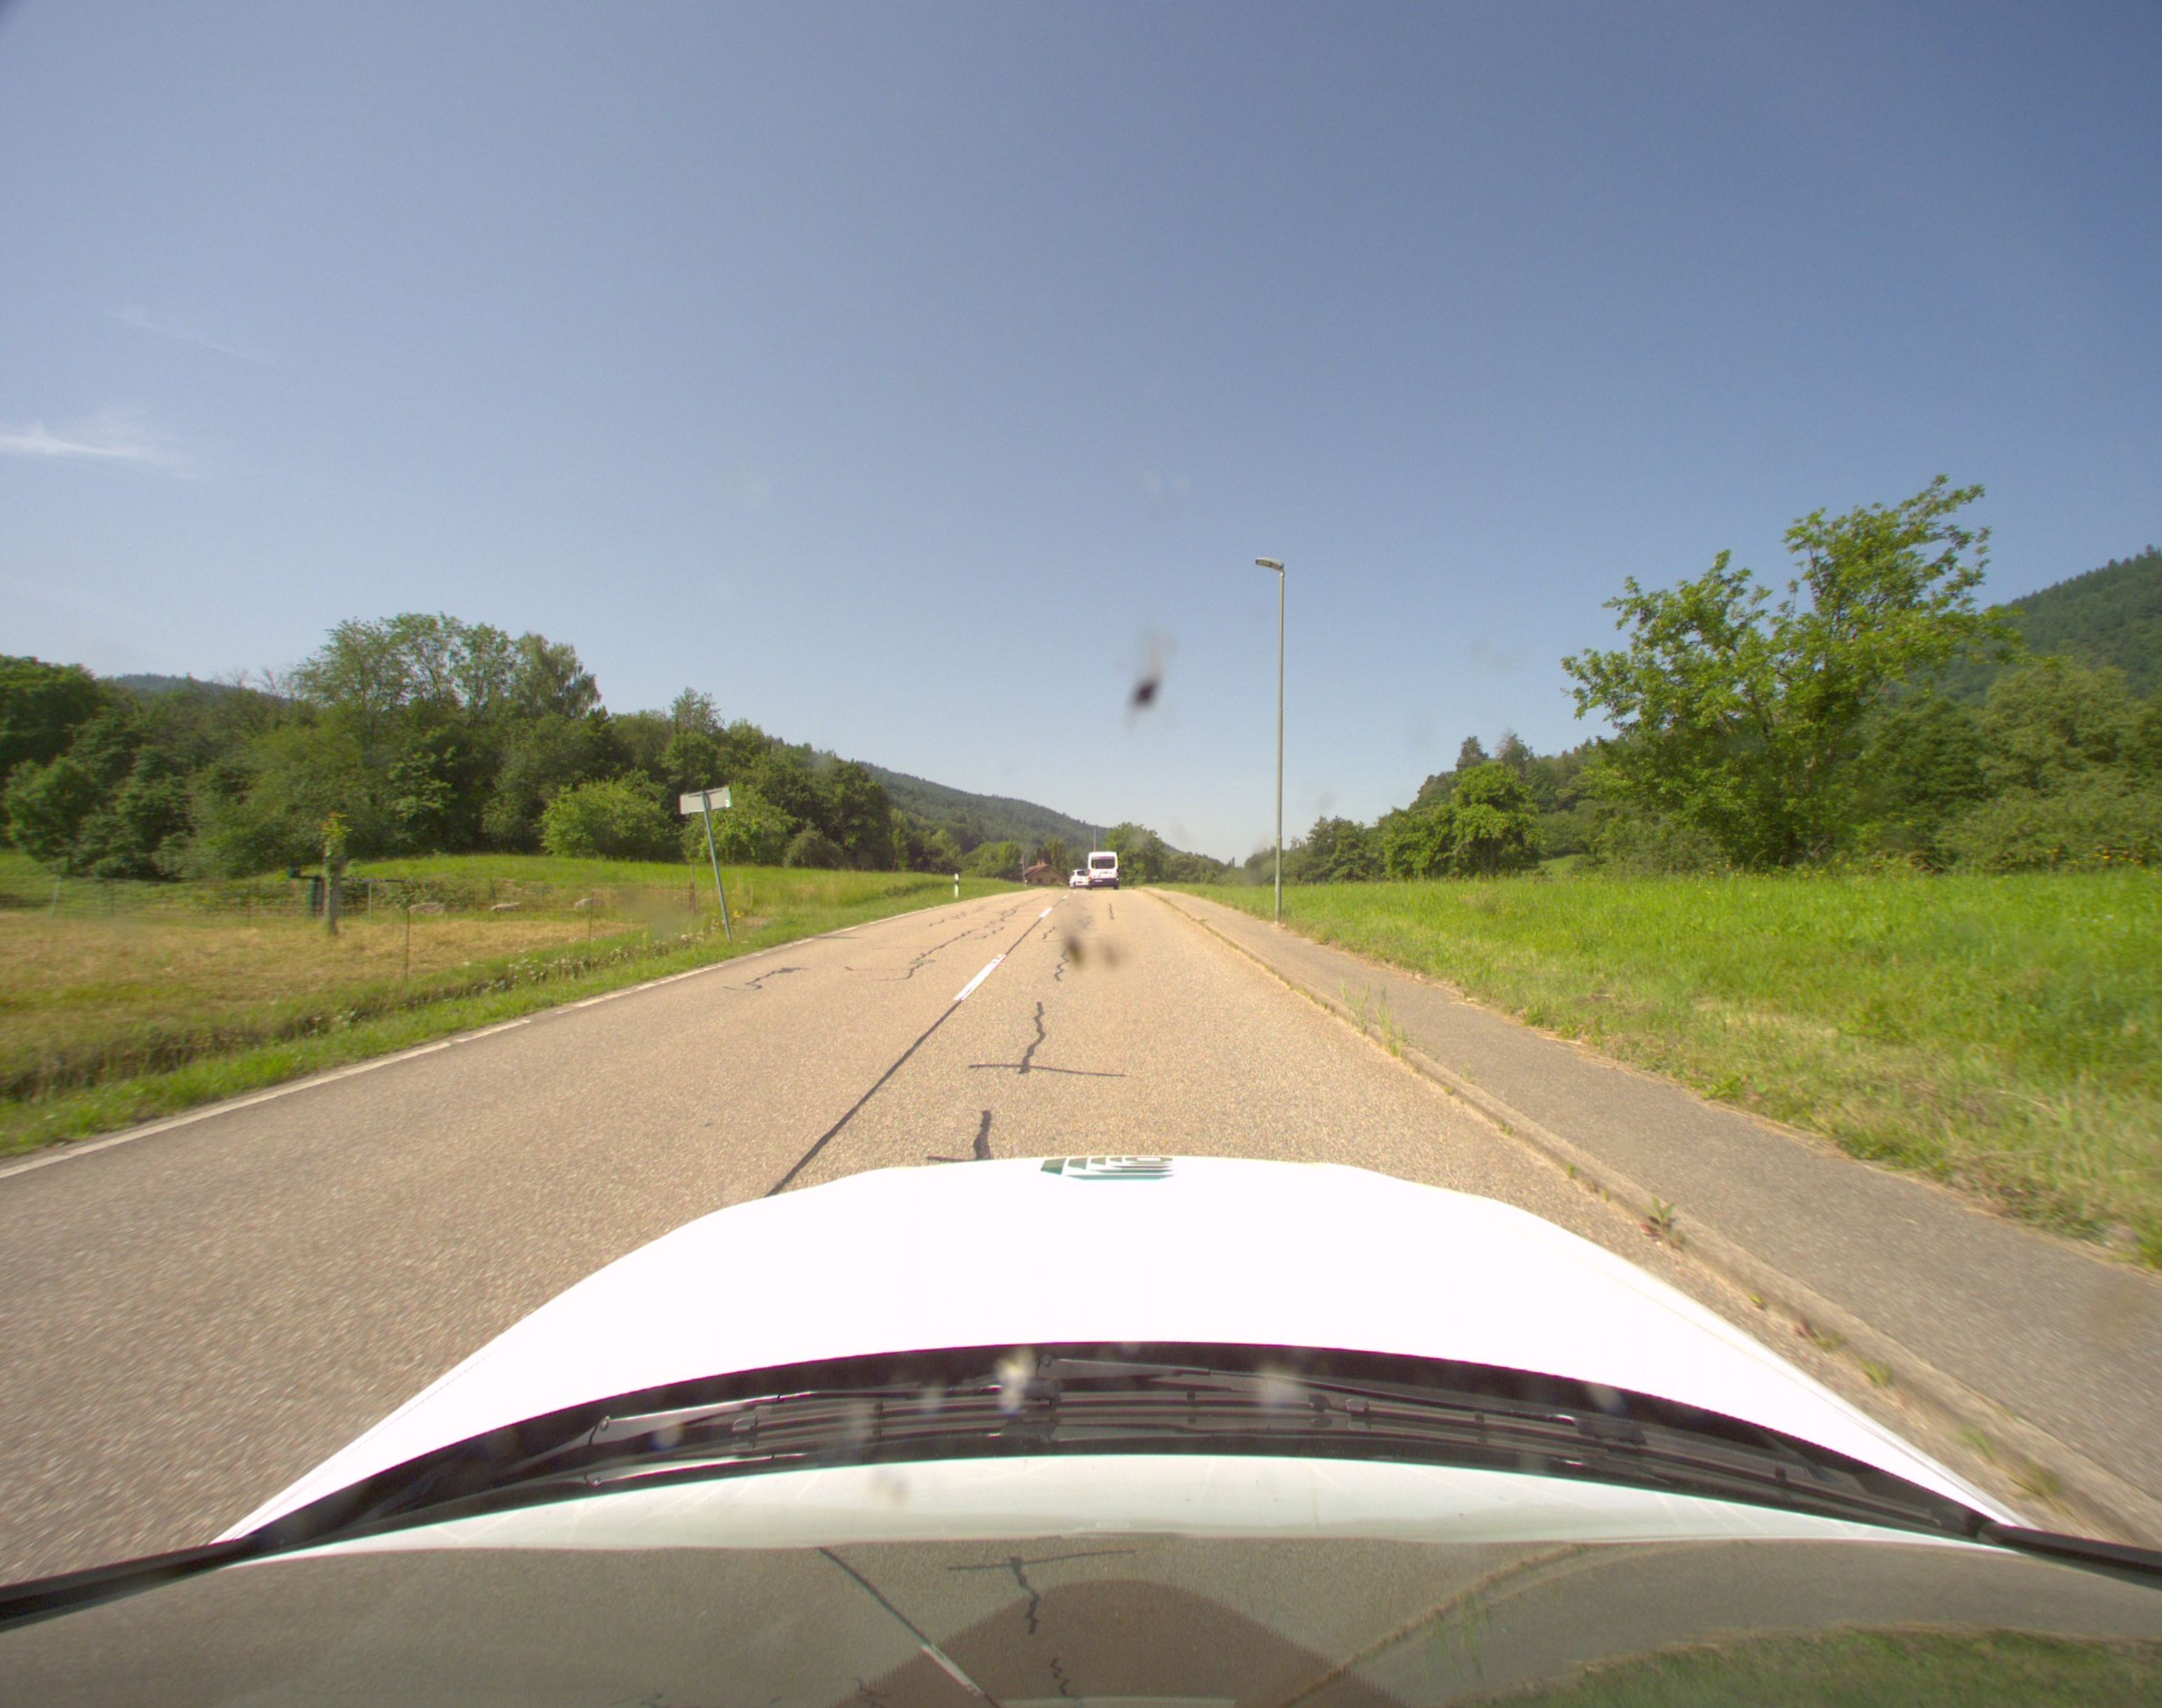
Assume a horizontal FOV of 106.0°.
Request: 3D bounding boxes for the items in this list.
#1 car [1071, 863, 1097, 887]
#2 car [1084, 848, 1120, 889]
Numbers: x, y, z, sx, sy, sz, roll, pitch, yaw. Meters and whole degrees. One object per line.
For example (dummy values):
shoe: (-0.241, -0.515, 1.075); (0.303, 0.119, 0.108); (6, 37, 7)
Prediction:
car: (0.273, 2.227, 84.974); (2.218, 2.287, 4.977); (-3, -2, -4)
car: (1.433, 1.040, 55.033); (2.215, 2.526, 4.984); (-3, -2, 1)
